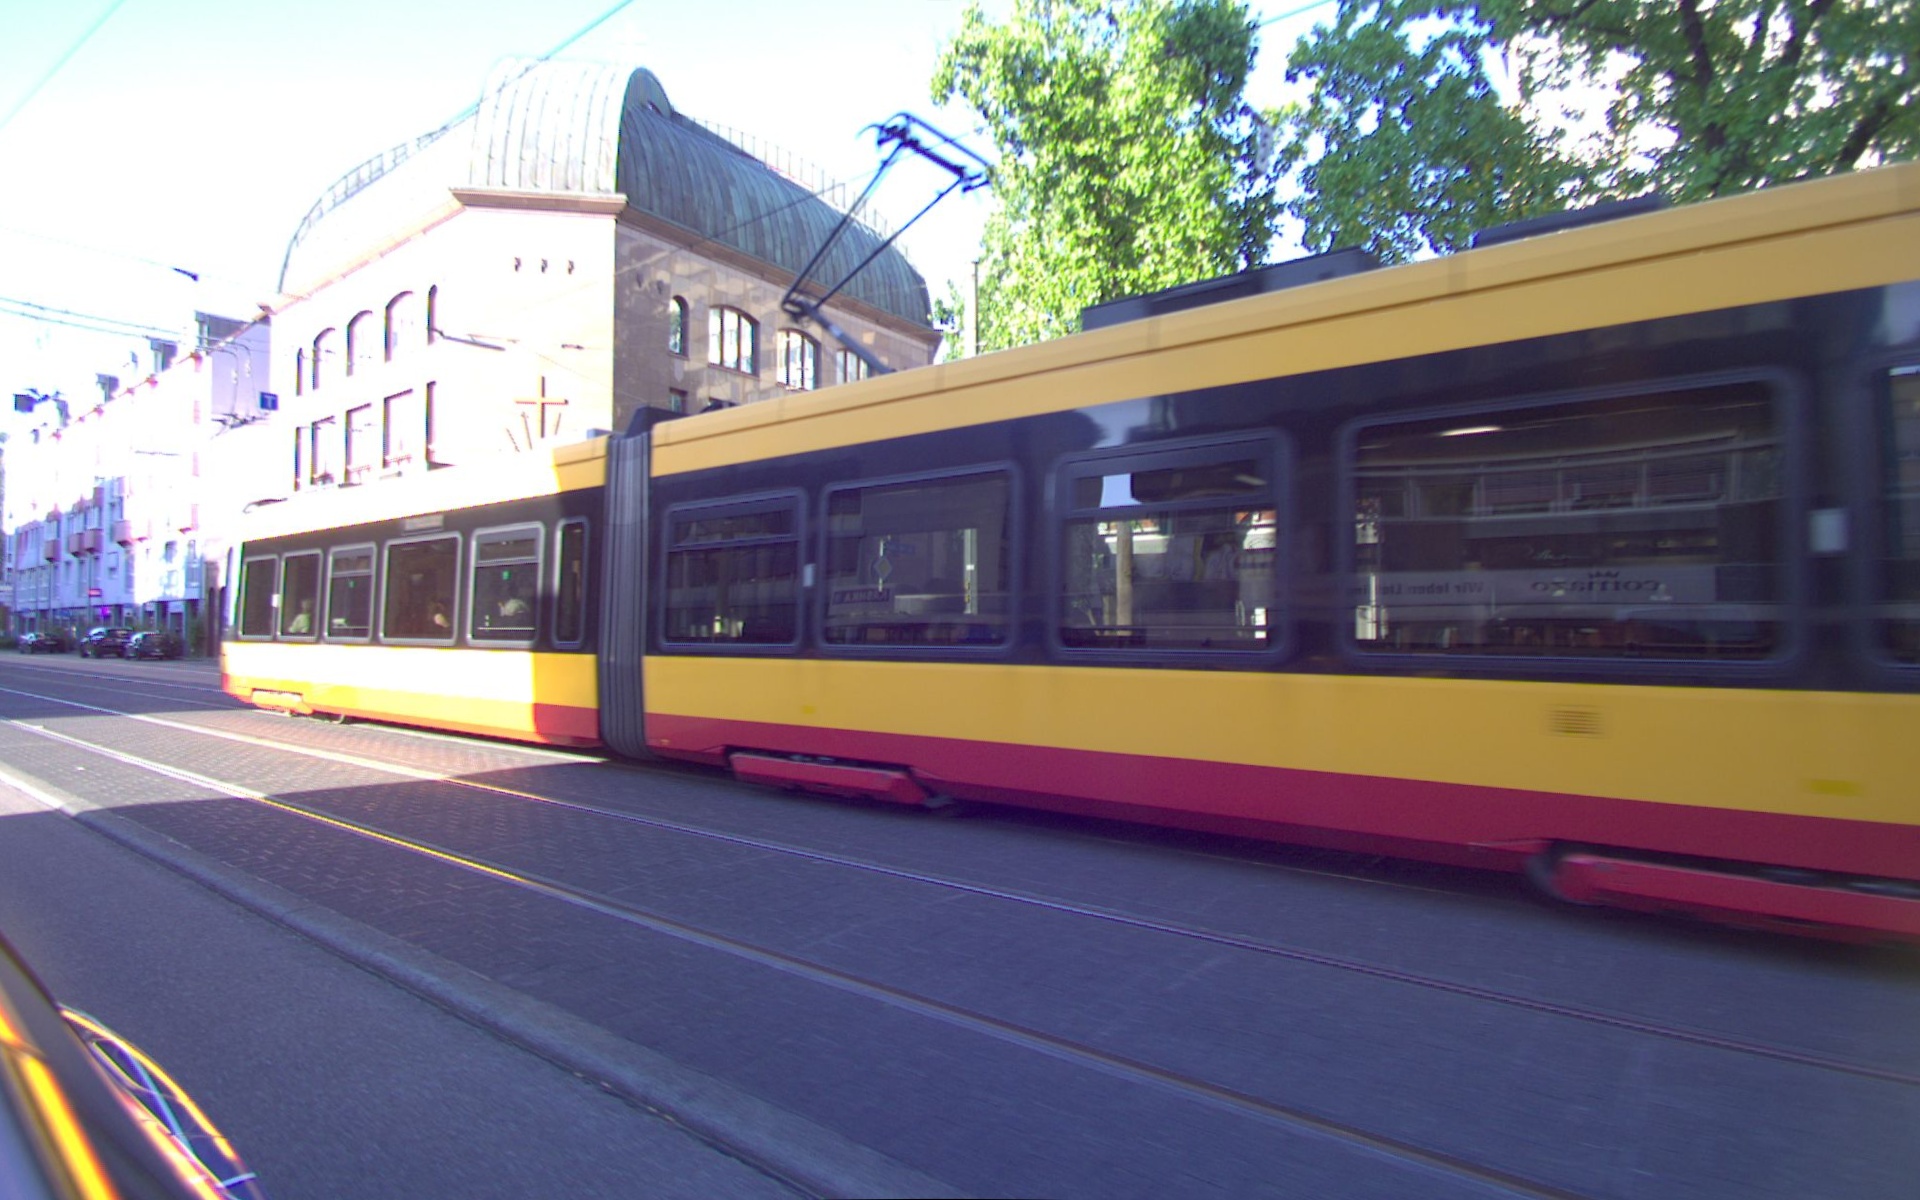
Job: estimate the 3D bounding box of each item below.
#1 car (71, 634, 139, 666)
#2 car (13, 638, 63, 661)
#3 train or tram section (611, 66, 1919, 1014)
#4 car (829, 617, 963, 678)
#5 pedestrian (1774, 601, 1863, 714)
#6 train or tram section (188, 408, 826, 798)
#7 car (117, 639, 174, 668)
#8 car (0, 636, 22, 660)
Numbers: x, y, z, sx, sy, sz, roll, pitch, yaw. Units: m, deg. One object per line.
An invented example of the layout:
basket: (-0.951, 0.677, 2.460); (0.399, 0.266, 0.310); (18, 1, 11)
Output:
car: (-48.054, 2.786, 56.857); (4.553, 1.713, 1.941); (-2, -2, 37)
car: (-62.791, 3.344, 68.886); (4.555, 1.520, 1.806); (-2, -2, 39)
train or tram section: (2.032, -0.143, 6.765); (11.112, 3.578, 2.650); (-1, -3, 39)
car: (-2.212, 1.668, 36.433); (2.129, 1.982, 4.933); (2, -1, 36)
pedestrian: (14.952, 0.988, 17.665); (0.894, 1.892, 0.912); (-1, -3, 23)
train or tram section: (-7.239, 0.176, 14.254); (12.451, 3.578, 2.732); (-1, -3, 39)
car: (-42.623, 2.786, 52.950); (3.679, 1.411, 1.626); (-2, -2, 39)
car: (-74.847, 3.712, 79.008); (4.382, 1.811, 1.906); (-2, -3, 42)
